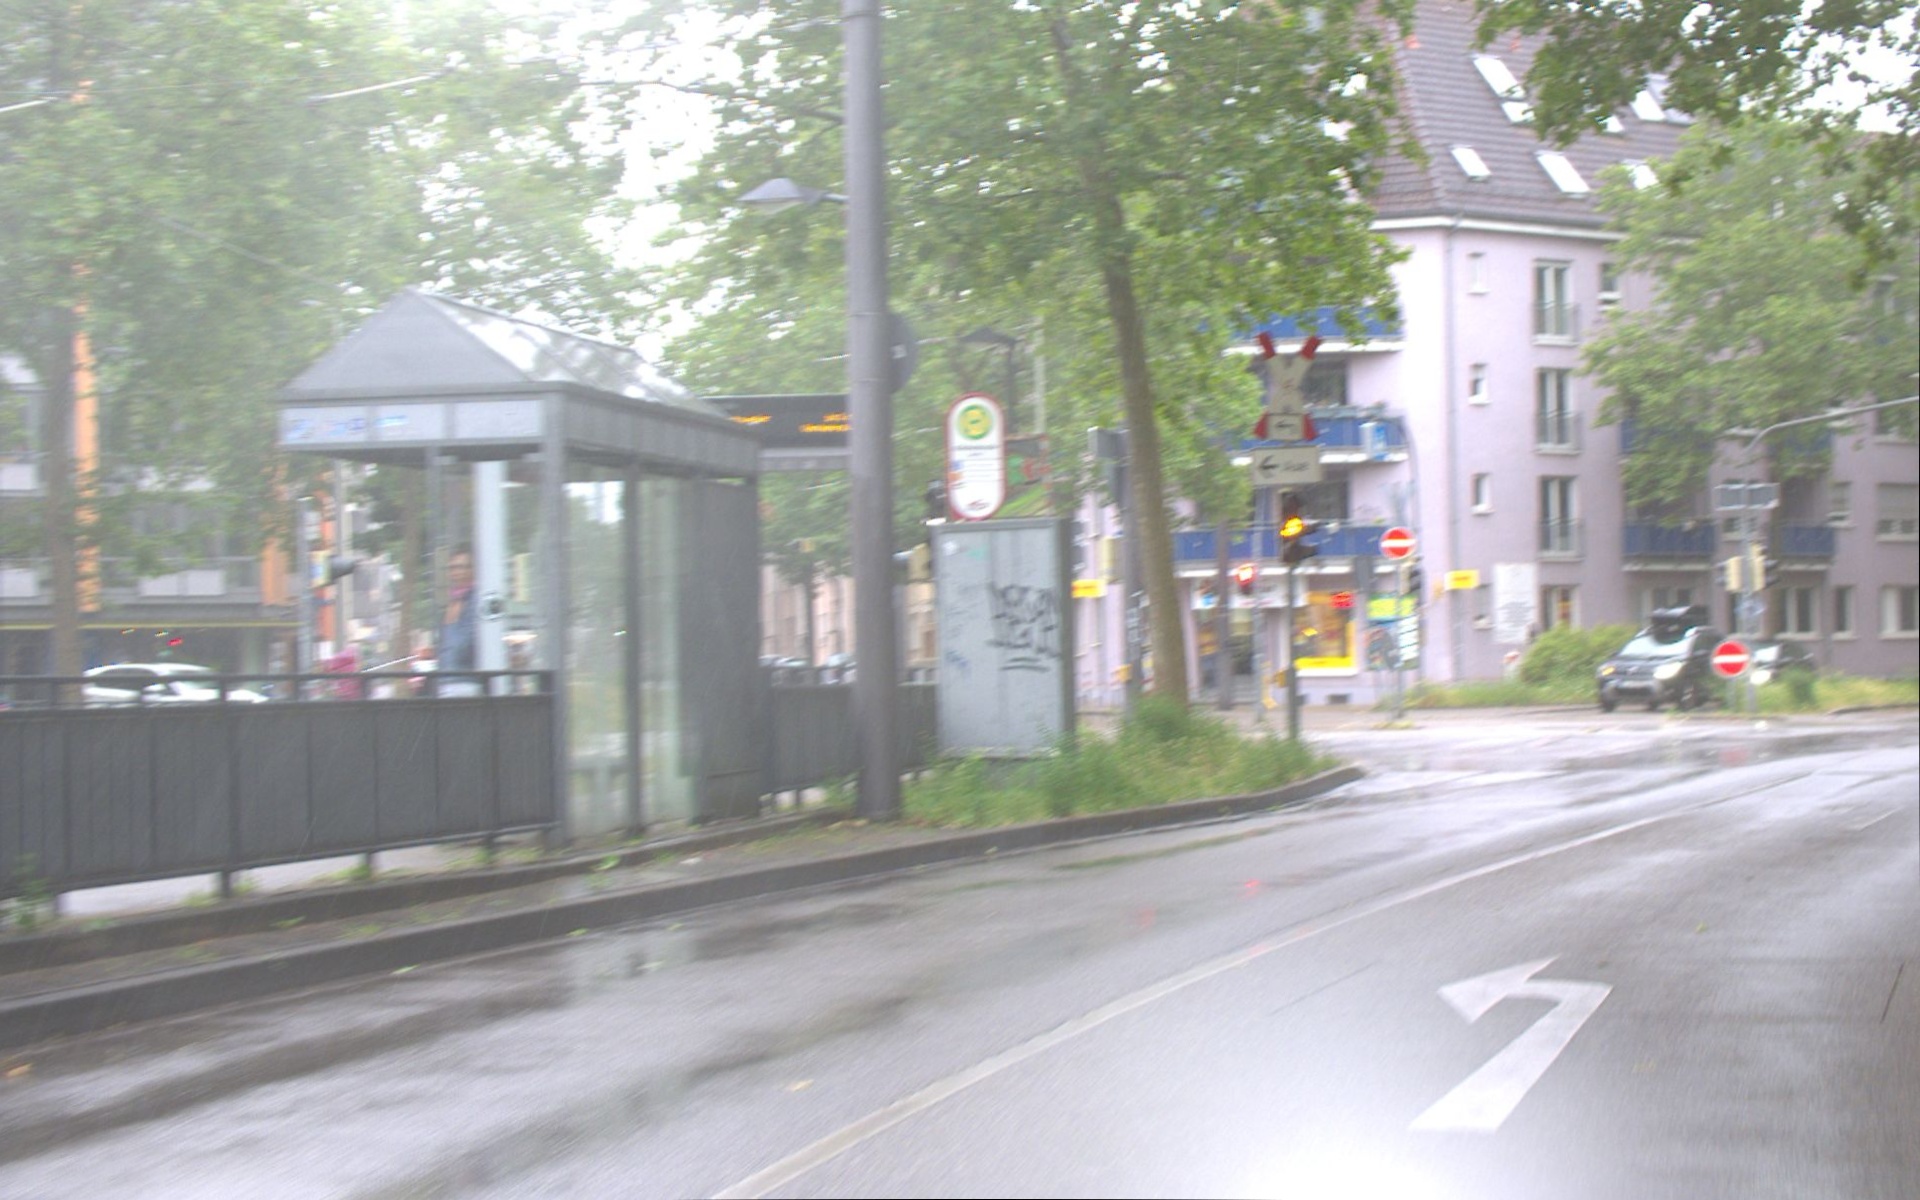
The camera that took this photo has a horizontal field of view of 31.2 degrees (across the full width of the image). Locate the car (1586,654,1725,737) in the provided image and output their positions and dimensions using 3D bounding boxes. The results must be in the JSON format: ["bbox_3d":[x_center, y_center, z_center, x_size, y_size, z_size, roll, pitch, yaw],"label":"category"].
[{"bbox_3d":[13.962,1.896,68.911,1.727,1.547,3.554,-4,-2,28],"label":"car"}]

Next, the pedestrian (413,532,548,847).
[{"bbox_3d":[-2.698,0.505,19.334,0.581,1.725,0.568,-2,-2,-20],"label":"pedestrian"}]

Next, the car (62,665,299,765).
[{"bbox_3d":[-14.317,2.120,63.095,4.013,1.646,1.969,-4,-2,34],"label":"car"}]

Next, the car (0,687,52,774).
[{"bbox_3d":[-19.576,2.585,66.583,3.788,1.634,1.721,-4,-2,34],"label":"car"}]
